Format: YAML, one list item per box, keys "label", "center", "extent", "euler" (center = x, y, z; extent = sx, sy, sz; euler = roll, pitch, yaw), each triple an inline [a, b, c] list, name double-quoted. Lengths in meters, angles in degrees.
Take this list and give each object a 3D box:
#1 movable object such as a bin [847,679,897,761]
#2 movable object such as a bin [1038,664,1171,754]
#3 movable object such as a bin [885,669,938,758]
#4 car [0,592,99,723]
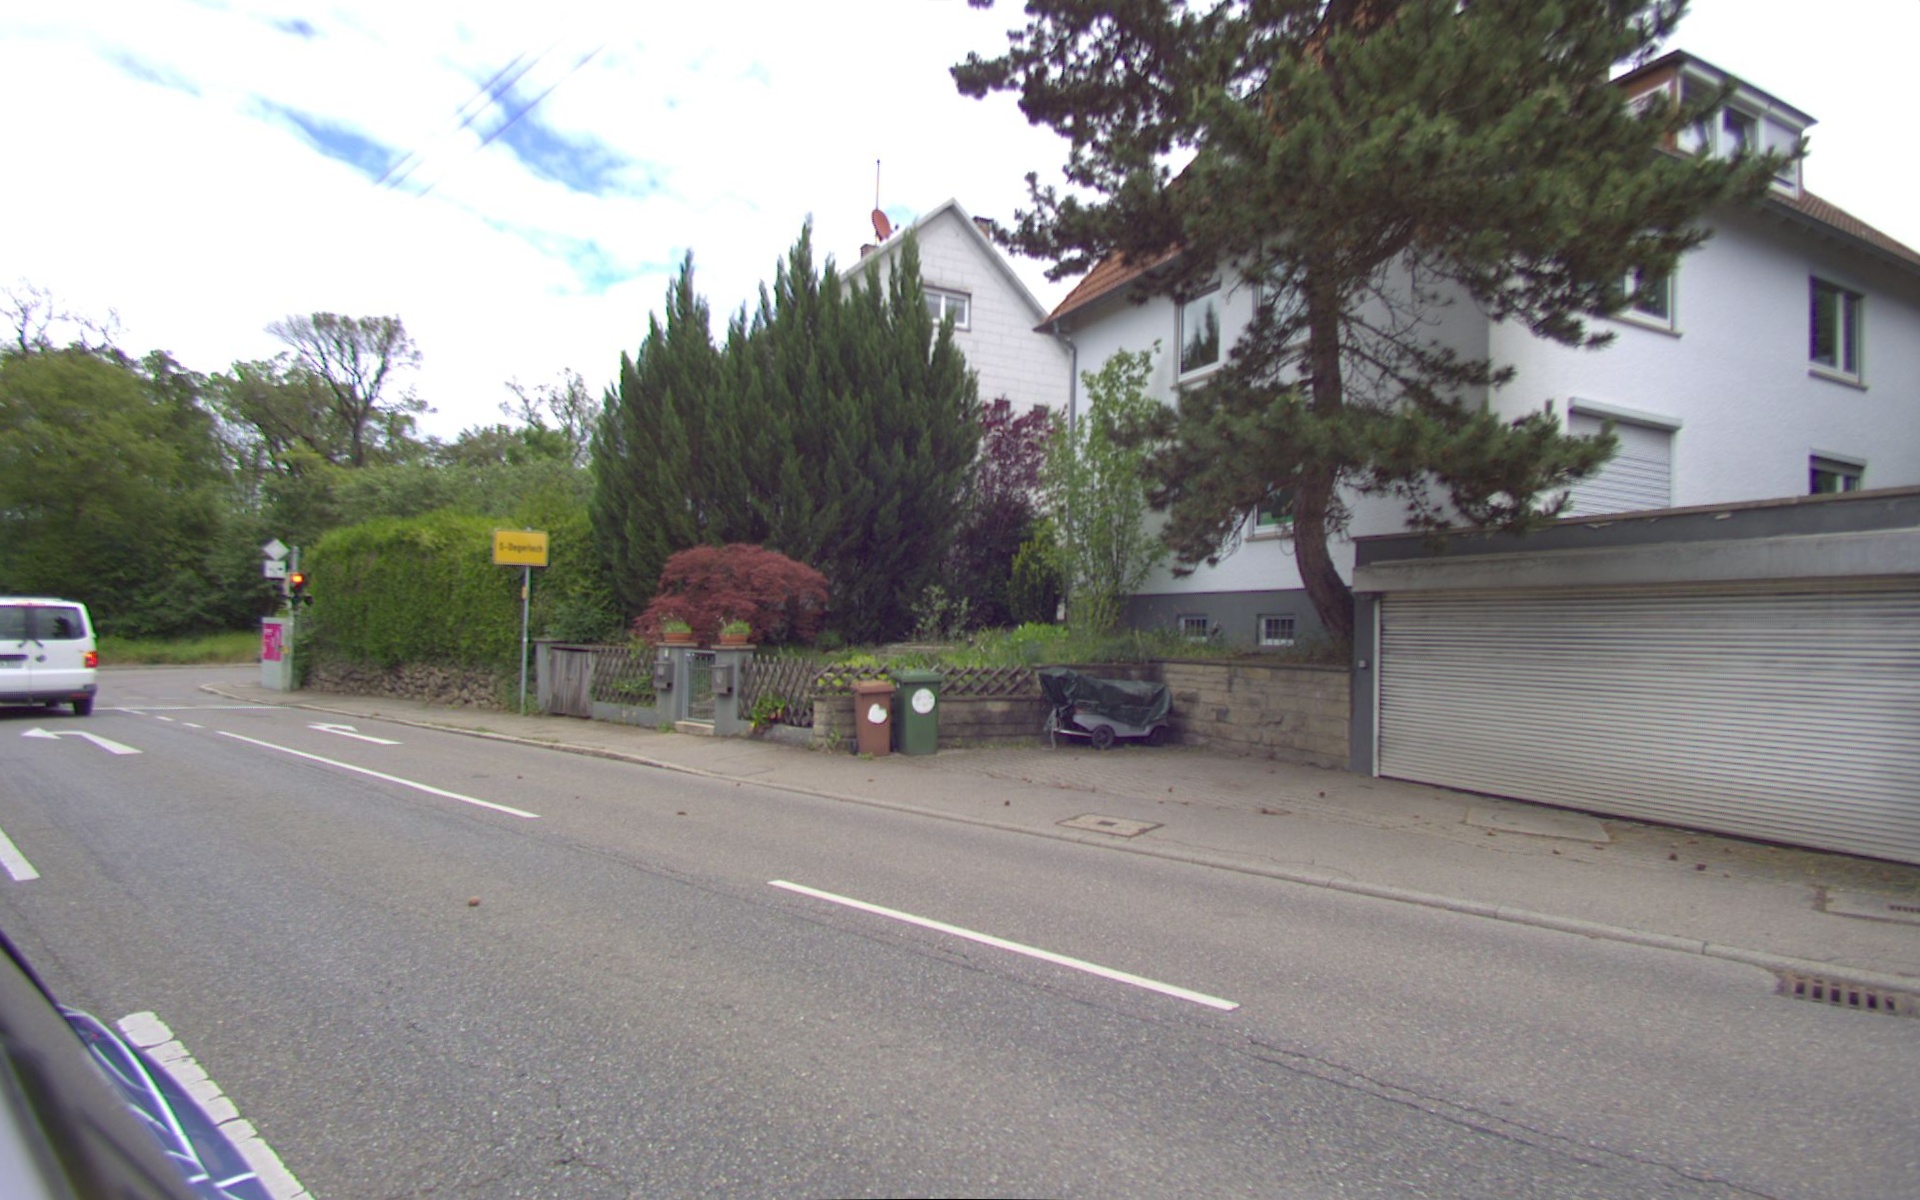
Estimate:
- label: "movable object such as a bin"
  center: [-1.101, 1.471, 12.551]
  extent: [0.457, 0.949, 0.649]
  euler: [1, -2, -20]
- label: "movable object such as a bin"
  center: [1.905, 1.420, 13.375]
  extent: [1.570, 1.089, 0.719]
  euler: [0, -2, -17]
- label: "movable object such as a bin"
  center: [-0.613, 1.409, 12.707]
  extent: [0.472, 1.042, 0.718]
  euler: [1, -2, -20]
- label: "car"
  center: [-16.982, 0.982, 17.903]
  extent: [5.168, 2.063, 1.839]
  euler: [-2, -3, 41]
